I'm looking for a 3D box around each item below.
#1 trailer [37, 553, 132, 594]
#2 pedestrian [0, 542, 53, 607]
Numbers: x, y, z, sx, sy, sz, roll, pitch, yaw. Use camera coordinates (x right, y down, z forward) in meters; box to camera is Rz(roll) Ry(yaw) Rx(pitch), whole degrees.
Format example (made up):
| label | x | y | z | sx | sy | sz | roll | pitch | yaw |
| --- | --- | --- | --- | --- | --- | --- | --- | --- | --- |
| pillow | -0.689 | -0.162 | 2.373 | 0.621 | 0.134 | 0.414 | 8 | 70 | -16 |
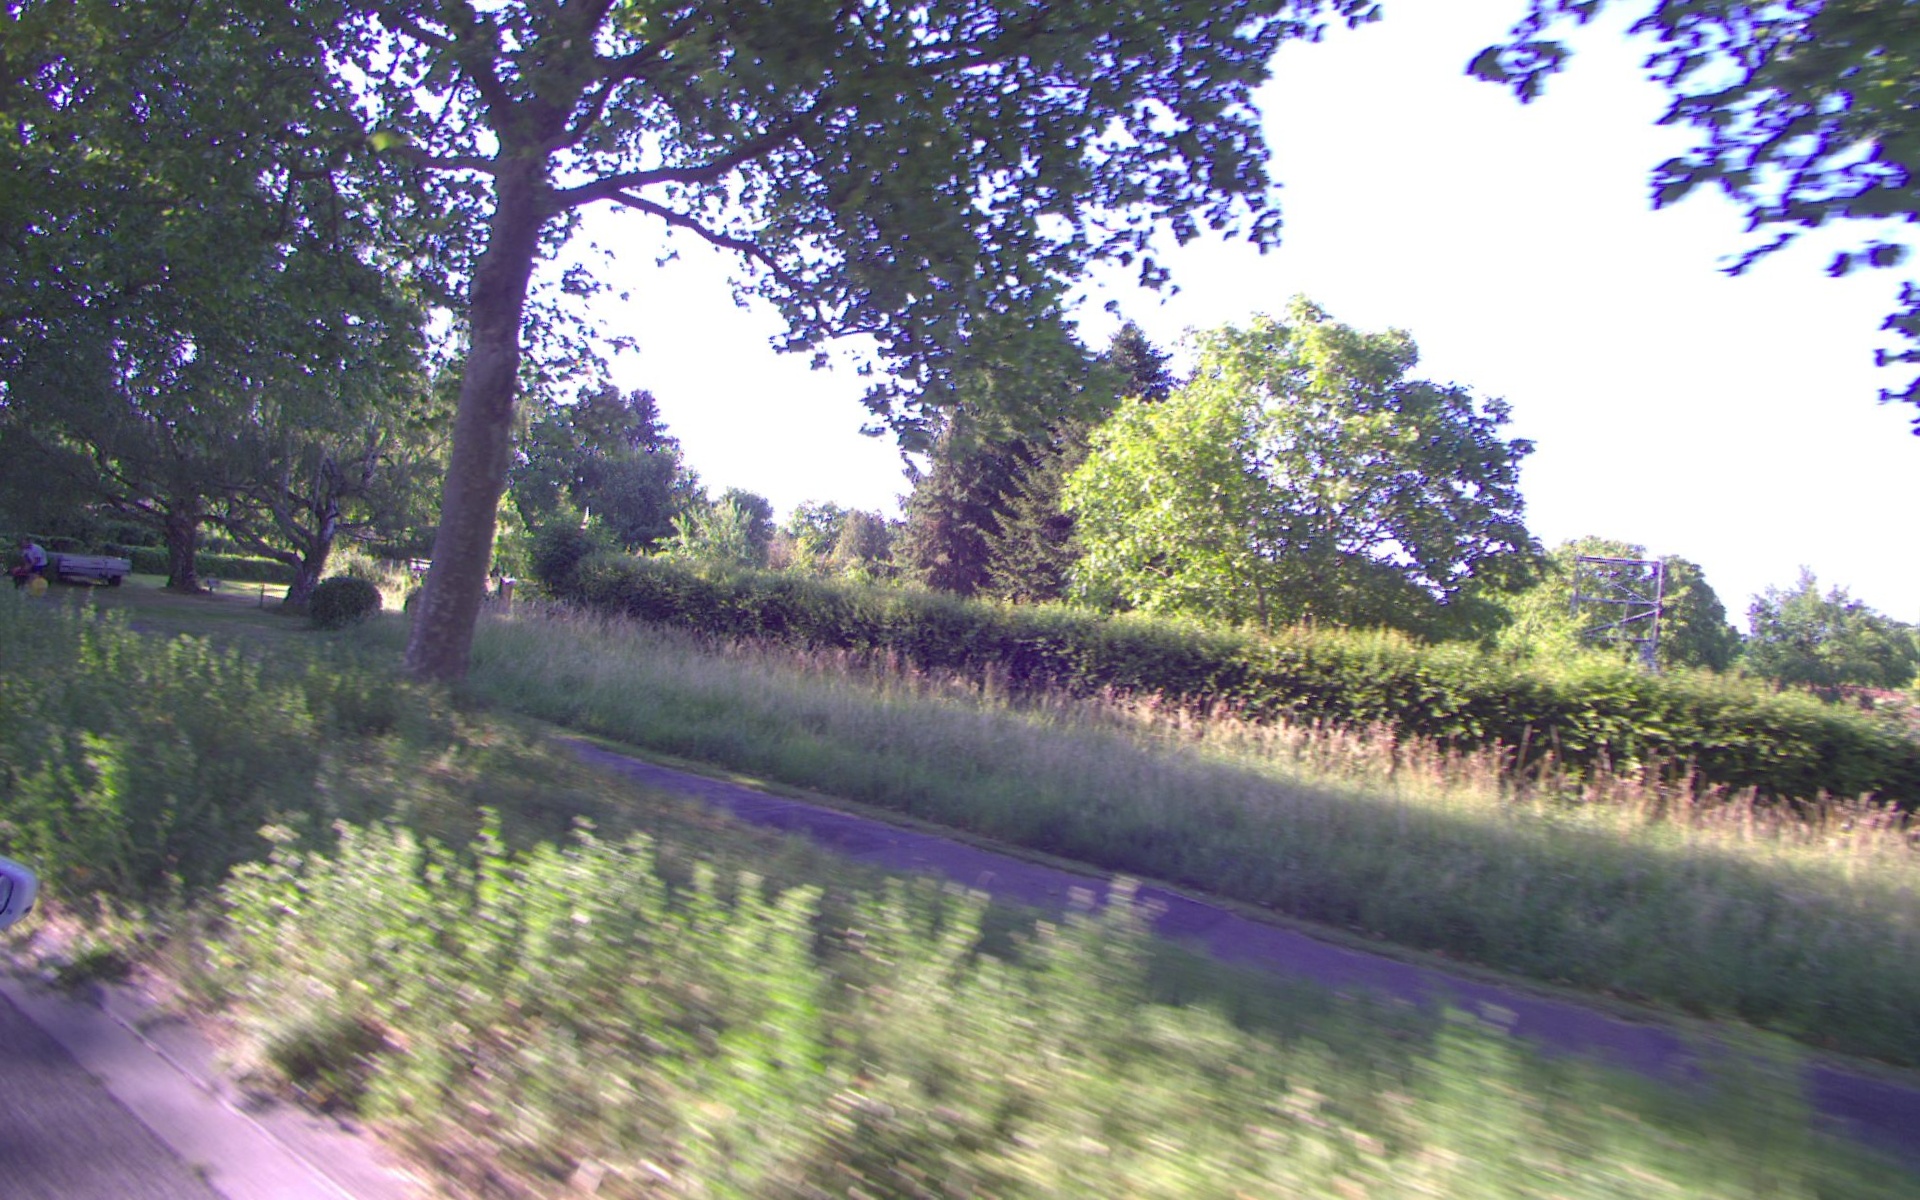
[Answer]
| label | x | y | z | sx | sy | sz | roll | pitch | yaw |
| --- | --- | --- | --- | --- | --- | --- | --- | --- | --- |
| trailer | -29.022 | -0.874 | 33.385 | 1.183 | 1.065 | 2.118 | 5 | -2 | 37 |
| pedestrian | -25.333 | -0.696 | 27.283 | 1.190 | 1.595 | 0.841 | 5 | -1 | 41 |
